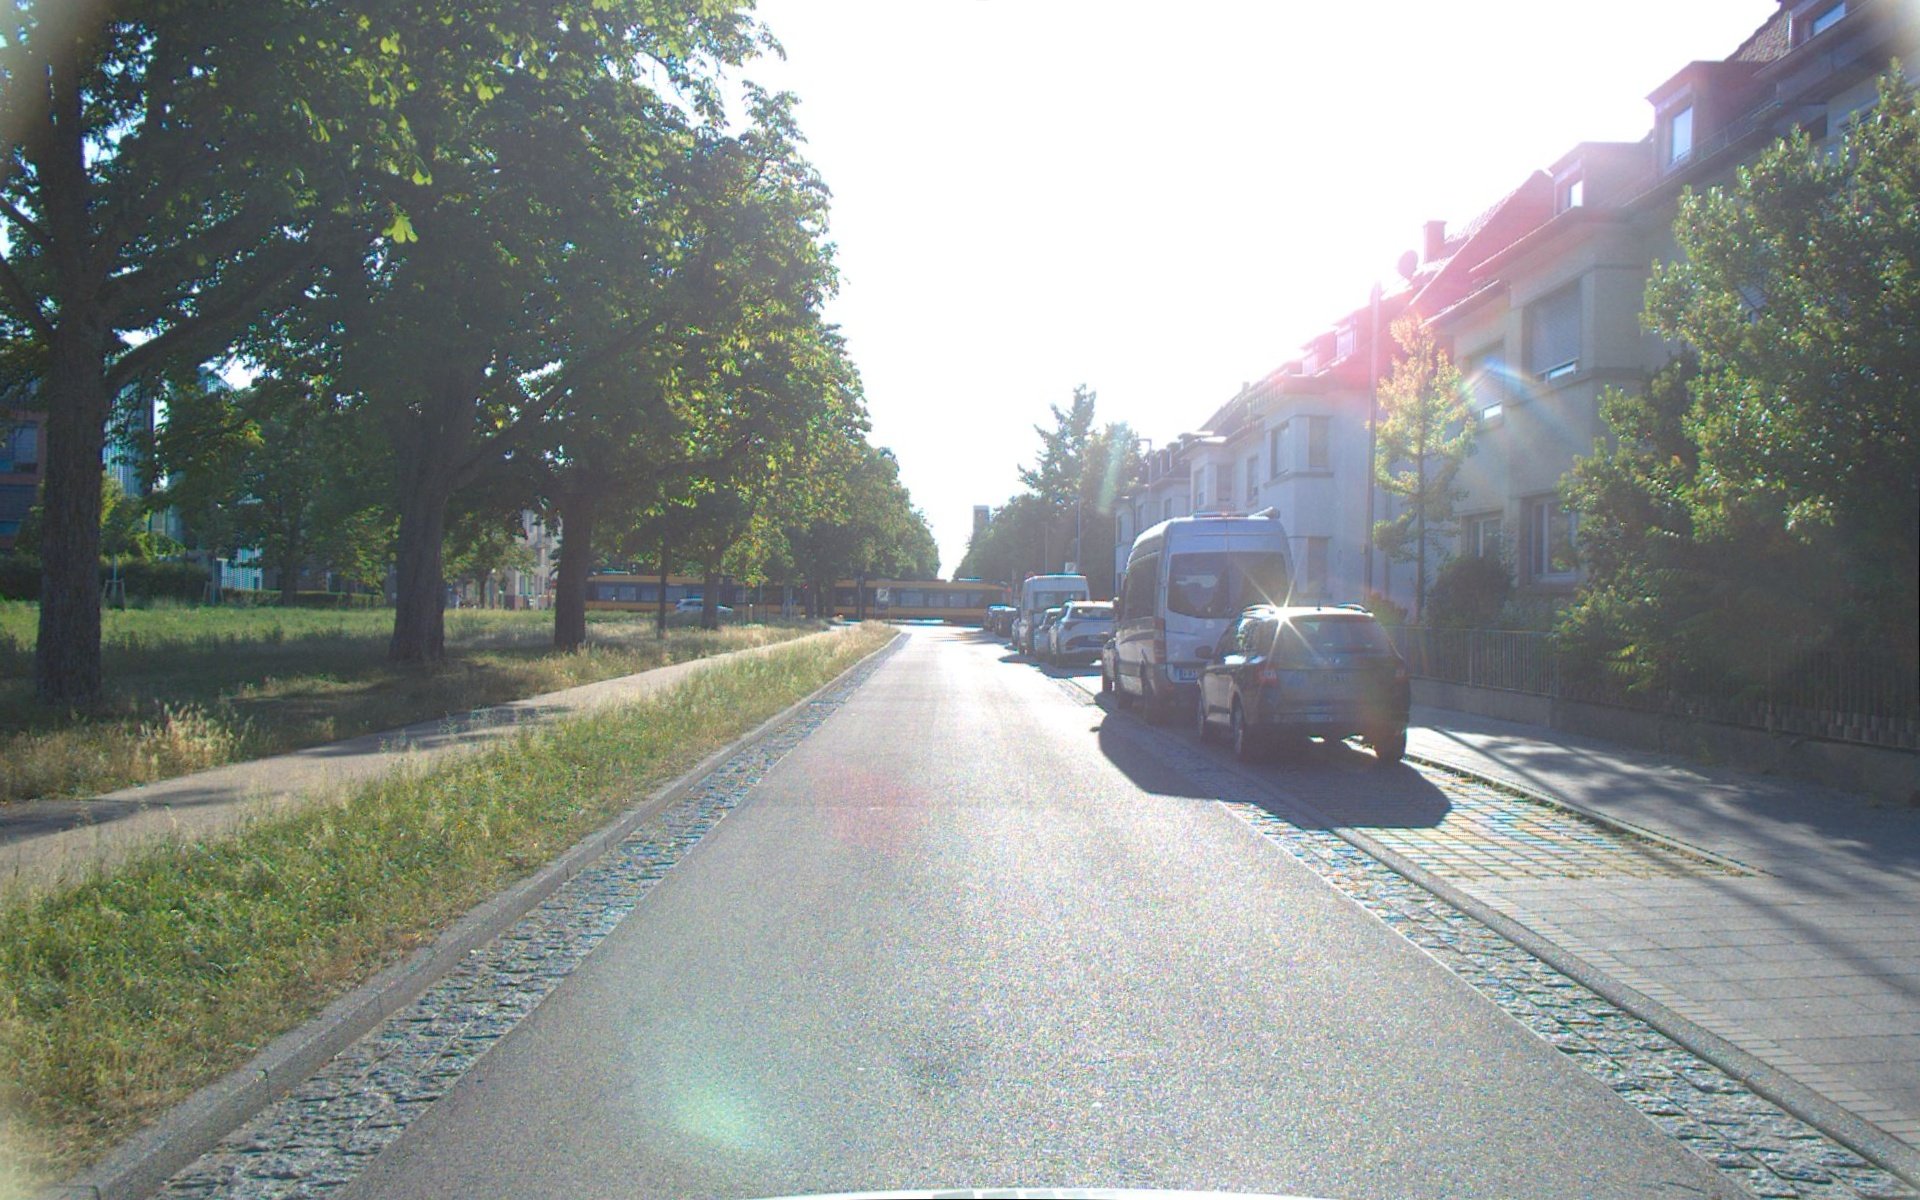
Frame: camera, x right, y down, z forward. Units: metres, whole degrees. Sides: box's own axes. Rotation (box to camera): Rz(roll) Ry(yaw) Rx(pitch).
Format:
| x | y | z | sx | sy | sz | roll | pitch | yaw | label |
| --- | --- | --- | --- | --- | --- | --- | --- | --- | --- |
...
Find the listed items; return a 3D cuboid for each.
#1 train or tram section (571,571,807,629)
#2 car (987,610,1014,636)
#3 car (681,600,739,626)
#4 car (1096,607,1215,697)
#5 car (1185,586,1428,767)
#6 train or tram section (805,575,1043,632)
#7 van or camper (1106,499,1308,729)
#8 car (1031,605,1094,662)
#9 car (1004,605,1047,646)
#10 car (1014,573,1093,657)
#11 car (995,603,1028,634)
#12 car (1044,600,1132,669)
| x | y | z | sx | sy | sz | roll | pitch | yaw | label |
| --- | --- | --- | --- | --- | --- | --- | --- | --- | --- |
| -22.007 | 0.060 | 135.389 | 18.707 | 4.025 | 3.638 | 2 | -1 | -7 | train or tram section |
| 2.524 | 1.425 | 102.576 | 1.616 | 1.557 | 3.851 | 0 | 0 | 1 | car |
| -19.150 | 1.011 | 126.718 | 4.266 | 1.795 | 1.996 | 2 | -1 | -9 | car |
| 3.446 | 0.892 | 29.775 | 1.588 | 1.435 | 3.968 | -3 | -1 | 0 | car |
| 3.485 | 0.719 | 17.347 | 1.630 | 1.621 | 4.085 | -2 | 0 | 0 | car |
| -3.025 | 0.310 | 137.478 | 19.399 | 4.025 | 3.639 | 2 | -1 | -6 | train or tram section |
| 3.365 | 0.224 | 23.749 | 1.904 | 2.826 | 5.938 | 2 | -1 | 0 | van or camper |
| 2.917 | 0.946 | 47.691 | 1.616 | 1.557 | 3.851 | 0 | 0 | 1 | car |
| 2.632 | 1.009 | 66.718 | 1.616 | 1.557 | 3.851 | 0 | 0 | 1 | car |
| 2.990 | 0.462 | 53.931 | 2.084 | 2.577 | 5.186 | 0 | 0 | -2 | car |
| 2.661 | 0.938 | 85.653 | 1.616 | 1.557 | 3.851 | 0 | 0 | 1 | car |
| 3.222 | 0.844 | 42.346 | 1.800 | 1.664 | 4.129 | 0 | 0 | -2 | car |
